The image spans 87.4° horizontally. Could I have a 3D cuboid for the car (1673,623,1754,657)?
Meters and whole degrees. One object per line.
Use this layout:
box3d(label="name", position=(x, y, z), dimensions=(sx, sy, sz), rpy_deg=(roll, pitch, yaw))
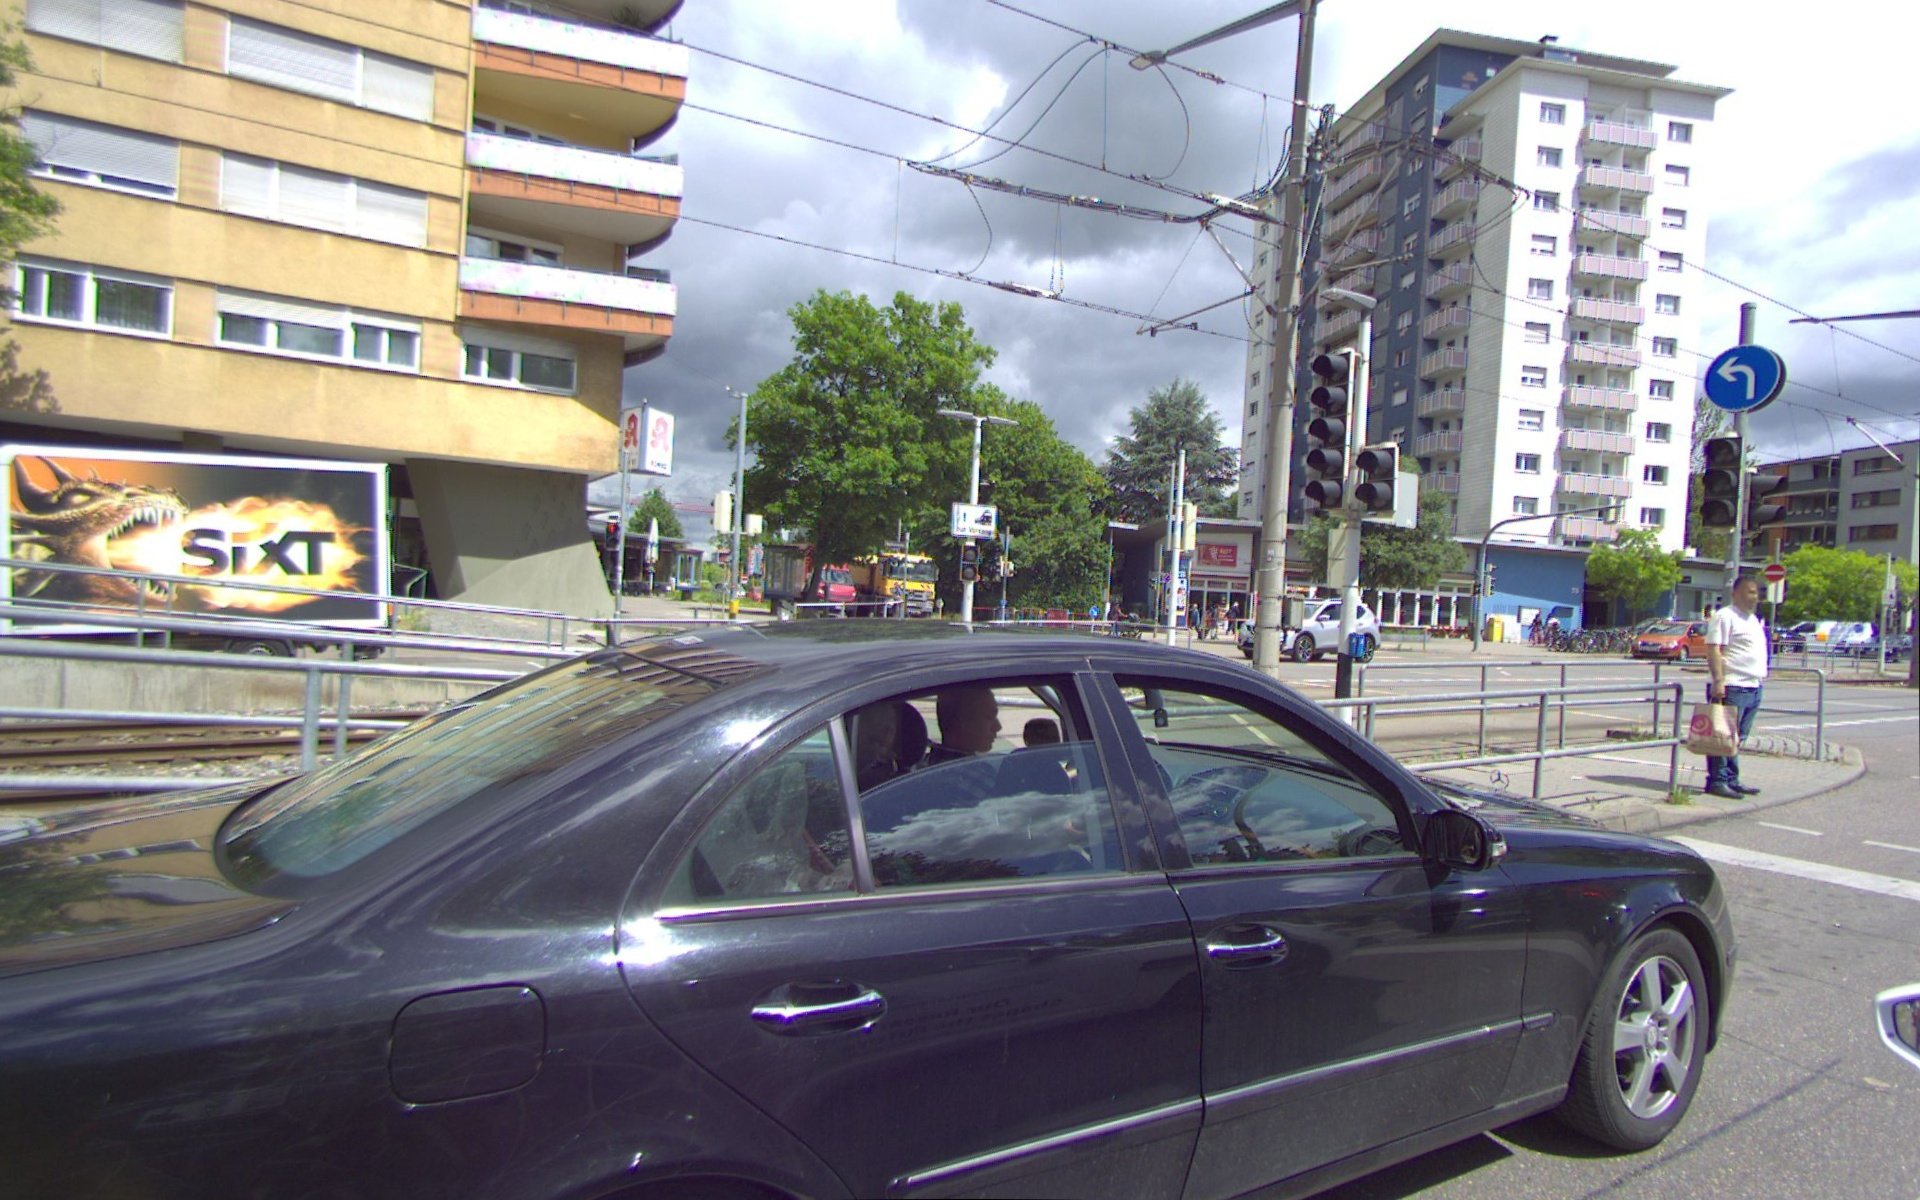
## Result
box3d(label="car", position=(40.133, 2.107, 53.615), dimensions=(1.921, 1.591, 4.220), rpy_deg=(2, 0, 13))

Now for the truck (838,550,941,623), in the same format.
box3d(label="truck", position=(-3.600, -0.620, 49.202), dimensions=(2.733, 3.244, 7.443), rpy_deg=(1, 0, -23))

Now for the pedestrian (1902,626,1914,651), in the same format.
box3d(label="pedestrian", position=(67.031, 2.698, 71.014), dimensions=(0.401, 1.739, 0.542), rpy_deg=(1, 1, -39))

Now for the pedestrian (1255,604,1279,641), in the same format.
box3d(label="pedestrian", position=(14.180, 1.037, 46.411), dimensions=(0.693, 1.637, 0.760), rpy_deg=(1, 1, -43))

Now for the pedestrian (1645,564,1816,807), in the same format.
box3d(label="pedestrian", position=(6.226, 0.645, 8.135), dimensions=(0.734, 1.832, 0.863), rpy_deg=(1, 1, -33))

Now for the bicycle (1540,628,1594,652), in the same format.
box3d(label="bicycle", position=(26.217, 1.733, 43.407), dimensions=(0.490, 0.947, 1.934), rpy_deg=(2, 0, -35))

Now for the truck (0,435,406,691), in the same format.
box3d(label="truck", position=(-12.025, -0.484, 14.344), dimensions=(7.175, 3.266, 2.403), rpy_deg=(0, 1, -30))

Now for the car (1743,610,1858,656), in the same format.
box3d(label="car", position=(49.794, 1.870, 59.759), dimensions=(2.776, 2.512, 6.724), rpy_deg=(2, 0, 17))

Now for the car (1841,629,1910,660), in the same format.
box3d(label="car", position=(47.578, 2.287, 52.199), dimensions=(4.207, 1.433, 1.620), rpy_deg=(1, 0, -33))

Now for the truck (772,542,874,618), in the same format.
box3d(label="truck", position=(-6.844, -0.919, 48.737), dimensions=(2.692, 3.320, 8.877), rpy_deg=(1, 0, -22))

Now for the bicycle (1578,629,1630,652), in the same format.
box3d(label="bicycle", position=(28.855, 1.822, 45.036), dimensions=(0.490, 0.947, 1.934), rpy_deg=(2, 0, -35))

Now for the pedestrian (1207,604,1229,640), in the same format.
box3d(label="pedestrian", position=(12.018, 1.030, 46.777), dimensions=(0.687, 1.637, 0.767), rpy_deg=(1, 0, -16))

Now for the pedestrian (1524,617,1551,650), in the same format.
box3d(label="pedestrian", position=(30.248, 1.724, 52.643), dimensions=(0.928, 1.681, 1.100), rpy_deg=(2, -1, 16))

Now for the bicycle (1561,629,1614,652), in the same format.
box3d(label="bicycle", position=(27.823, 1.788, 44.563), dimensions=(0.490, 0.947, 1.934), rpy_deg=(2, 0, -35))

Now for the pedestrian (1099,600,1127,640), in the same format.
box3d(label="pedestrian", position=(6.640, 0.864, 43.727), dimensions=(0.977, 1.681, 0.969), rpy_deg=(2, -1, -4))

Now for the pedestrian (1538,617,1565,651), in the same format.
box3d(label="pedestrian", position=(30.222, 1.738, 51.326), dimensions=(0.928, 1.681, 1.100), rpy_deg=(2, -1, 16))

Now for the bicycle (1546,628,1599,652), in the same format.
box3d(label="bicycle", position=(26.621, 1.747, 43.706), dimensions=(0.490, 0.947, 1.934), rpy_deg=(2, 0, -35))

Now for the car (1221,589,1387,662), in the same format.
box3d(label="car", position=(9.405, 0.706, 27.374), dimensions=(4.462, 1.825, 1.982), rpy_deg=(1, -1, -33))

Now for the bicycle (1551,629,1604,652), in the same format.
box3d(label="bicycle", position=(27.032, 1.761, 43.994), dimensions=(0.490, 0.947, 1.934), rpy_deg=(2, 0, -35))

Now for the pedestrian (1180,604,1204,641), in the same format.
box3d(label="pedestrian", position=(10.880, 1.046, 47.132), dimensions=(0.765, 1.636, 0.765), rpy_deg=(7, 1, -1))

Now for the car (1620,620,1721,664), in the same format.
box3d(label="car", position=(29.009, 1.688, 40.985), dimensions=(4.415, 1.656, 1.981), rpy_deg=(1, -1, -35))

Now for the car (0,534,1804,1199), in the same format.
box3d(label="car", position=(0.241, 0.708, 2.740), dimensions=(4.490, 1.481, 1.720), rpy_deg=(2, 0, -30))

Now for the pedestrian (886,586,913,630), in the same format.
box3d(label="pedestrian", position=(-2.377, 0.304, 39.541), dimensions=(0.770, 1.638, 0.759), rpy_deg=(-1, 5, -29))

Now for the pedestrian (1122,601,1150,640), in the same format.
box3d(label="pedestrian", position=(7.693, 0.898, 43.989), dimensions=(0.977, 1.681, 0.969), rpy_deg=(2, -1, -4))

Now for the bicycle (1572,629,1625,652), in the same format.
box3d(label="bicycle", position=(28.451, 1.808, 44.762), dimensions=(0.490, 0.947, 1.934), rpy_deg=(2, 0, -35))

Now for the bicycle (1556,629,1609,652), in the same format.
box3d(label="bicycle", position=(27.419, 1.774, 44.266), dimensions=(0.490, 0.947, 1.934), rpy_deg=(2, 0, -35))

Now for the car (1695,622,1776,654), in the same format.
box3d(label="car", position=(42.789, 2.079, 55.550), dimensions=(1.921, 1.558, 4.220), rpy_deg=(2, 0, 13))

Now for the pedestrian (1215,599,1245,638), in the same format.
box3d(label="pedestrian", position=(13.952, 0.963, 51.840), dimensions=(1.200, 1.942, 0.860), rpy_deg=(1, 1, -30))

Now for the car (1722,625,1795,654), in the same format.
box3d(label="car", position=(45.483, 2.220, 57.322), dimensions=(1.754, 1.439, 4.219), rpy_deg=(2, 0, 16))
